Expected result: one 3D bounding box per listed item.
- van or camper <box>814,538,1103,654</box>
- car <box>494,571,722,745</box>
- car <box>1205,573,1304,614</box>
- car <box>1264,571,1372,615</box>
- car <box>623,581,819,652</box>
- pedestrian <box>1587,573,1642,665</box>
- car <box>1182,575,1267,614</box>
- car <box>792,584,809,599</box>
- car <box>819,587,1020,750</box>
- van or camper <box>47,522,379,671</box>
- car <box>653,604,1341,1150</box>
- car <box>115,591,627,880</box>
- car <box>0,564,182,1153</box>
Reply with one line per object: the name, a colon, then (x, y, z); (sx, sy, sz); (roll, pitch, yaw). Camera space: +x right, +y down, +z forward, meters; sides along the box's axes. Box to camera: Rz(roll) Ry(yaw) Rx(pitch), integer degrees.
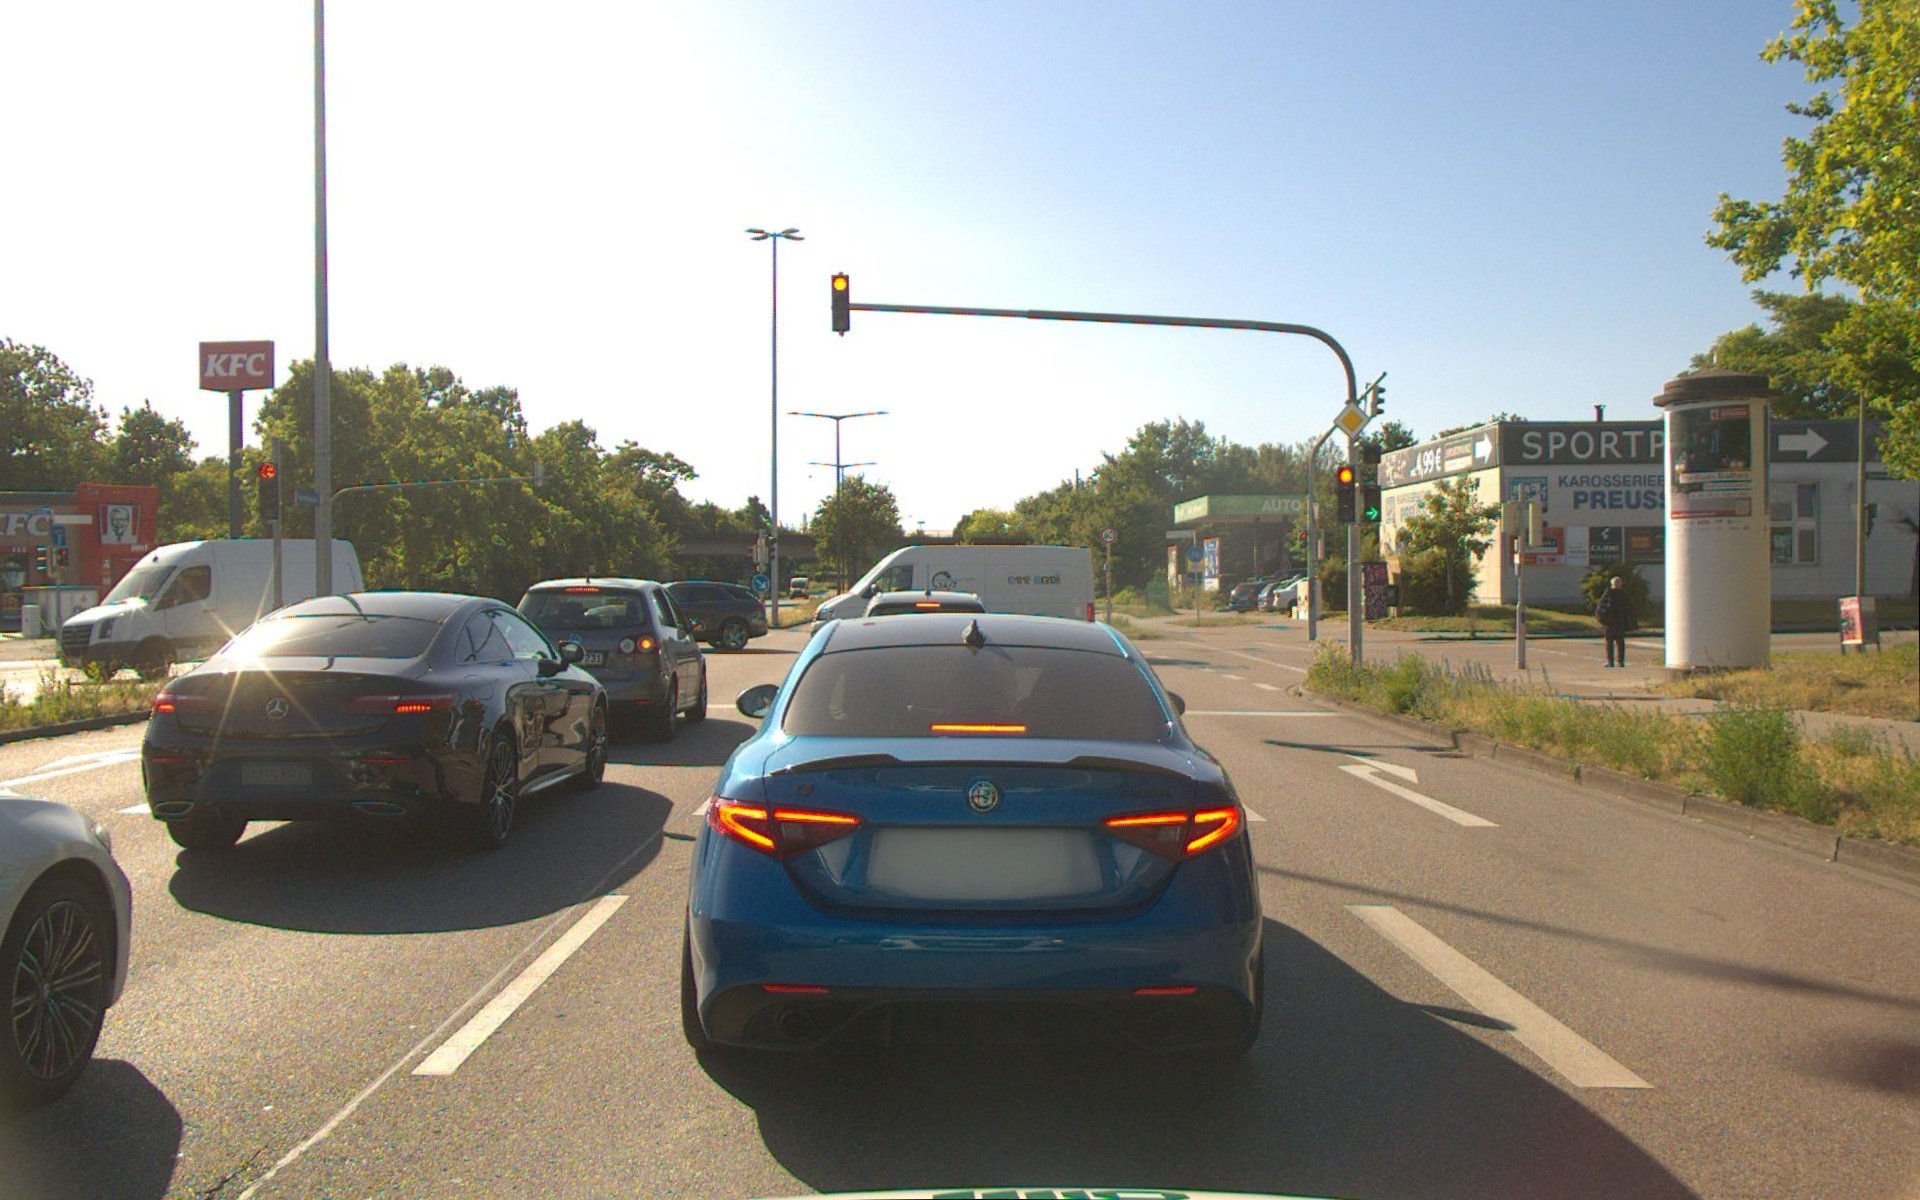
van or camper: (-0.093, -0.114, 38.921); (6.604, 2.617, 2.181); (0, 0, -8)
car: (-3.585, 0.524, 17.474); (1.615, 1.626, 3.931); (0, 0, -1)
car: (12.672, -0.269, 71.152); (3.928, 1.736, 1.686); (0, 0, -20)
car: (14.344, -0.279, 66.322); (3.923, 1.736, 1.687); (0, 0, -17)
car: (-5.903, 0.367, 40.801); (4.528, 1.682, 1.990); (0, 0, -19)
pedestrian: (12.651, 0.357, 31.986); (0.805, 1.752, 0.854); (0, 0, 6)
car: (11.877, -0.263, 74.331); (3.428, 1.736, 1.688); (0, 0, -16)
car: (-19.105, -0.996, 198.468); (1.786, 1.723, 3.834); (0, 0, -3)
car: (-0.395, 0.609, 17.055); (1.828, 1.475, 3.931); (0, 0, -1)
van or camper: (-14.678, -0.088, 32.922); (1.958, 2.697, 5.939); (0, 0, 33)
car: (0.075, 0.748, 6.377); (1.828, 1.409, 3.931); (0, 0, -1)
car: (-3.417, 0.670, 10.569); (1.732, 1.439, 4.460); (0, 0, -1)
car: (-3.352, 0.684, 3.096); (1.732, 1.535, 4.460); (0, 0, -1)
